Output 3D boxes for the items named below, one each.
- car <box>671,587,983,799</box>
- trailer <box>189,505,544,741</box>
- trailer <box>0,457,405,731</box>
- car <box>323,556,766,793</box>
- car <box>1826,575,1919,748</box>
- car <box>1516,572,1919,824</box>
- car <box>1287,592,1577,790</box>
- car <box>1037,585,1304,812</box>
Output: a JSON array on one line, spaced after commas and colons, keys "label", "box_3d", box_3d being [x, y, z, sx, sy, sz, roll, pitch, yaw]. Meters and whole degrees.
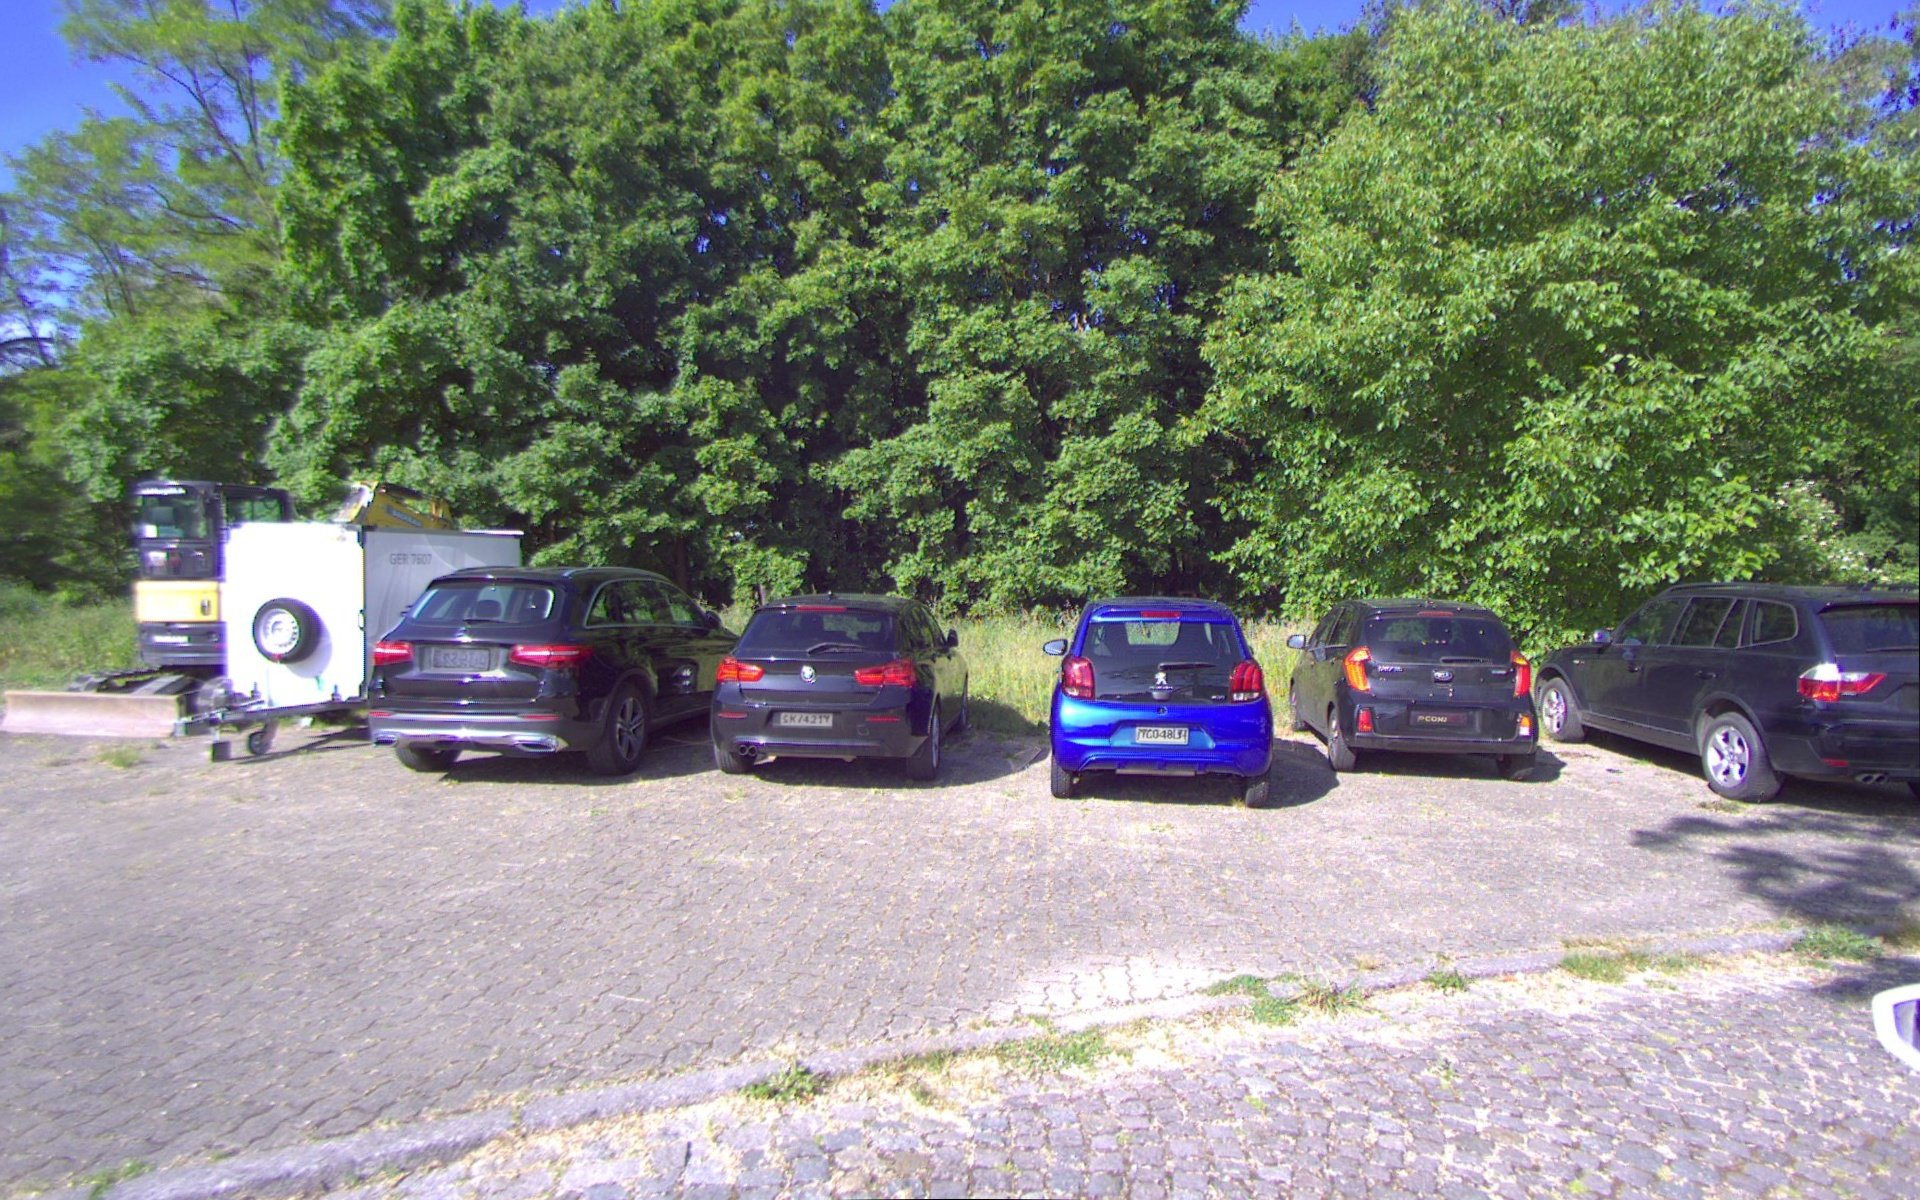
[{"label": "car", "box_3d": [-0.912, 0.624, 8.949, 1.857, 1.430, 3.791, 1, 1, 7]}, {"label": "trailer", "box_3d": [-5.961, 0.177, 10.471, 1.787, 2.078, 2.851, 1, 1, 8]}, {"label": "trailer", "box_3d": [-8.111, -0.148, 11.016, 2.220, 2.573, 2.851, 1, 3, 8]}, {"label": "car", "box_3d": [-3.342, 0.484, 9.103, 1.930, 1.611, 4.133, 1, 1, 7]}, {"label": "car", "box_3d": [10.002, 0.665, 8.447, 1.793, 1.611, 4.273, 0, 3, 2]}, {"label": "car", "box_3d": [6.944, 0.620, 8.924, 1.843, 1.653, 4.274, 1, 2, 4]}, {"label": "car", "box_3d": [4.291, 0.687, 9.762, 1.709, 1.470, 3.726, 1, 1, 12]}, {"label": "car", "box_3d": [1.664, 0.632, 8.717, 1.749, 1.478, 3.791, 1, 1, 7]}]
